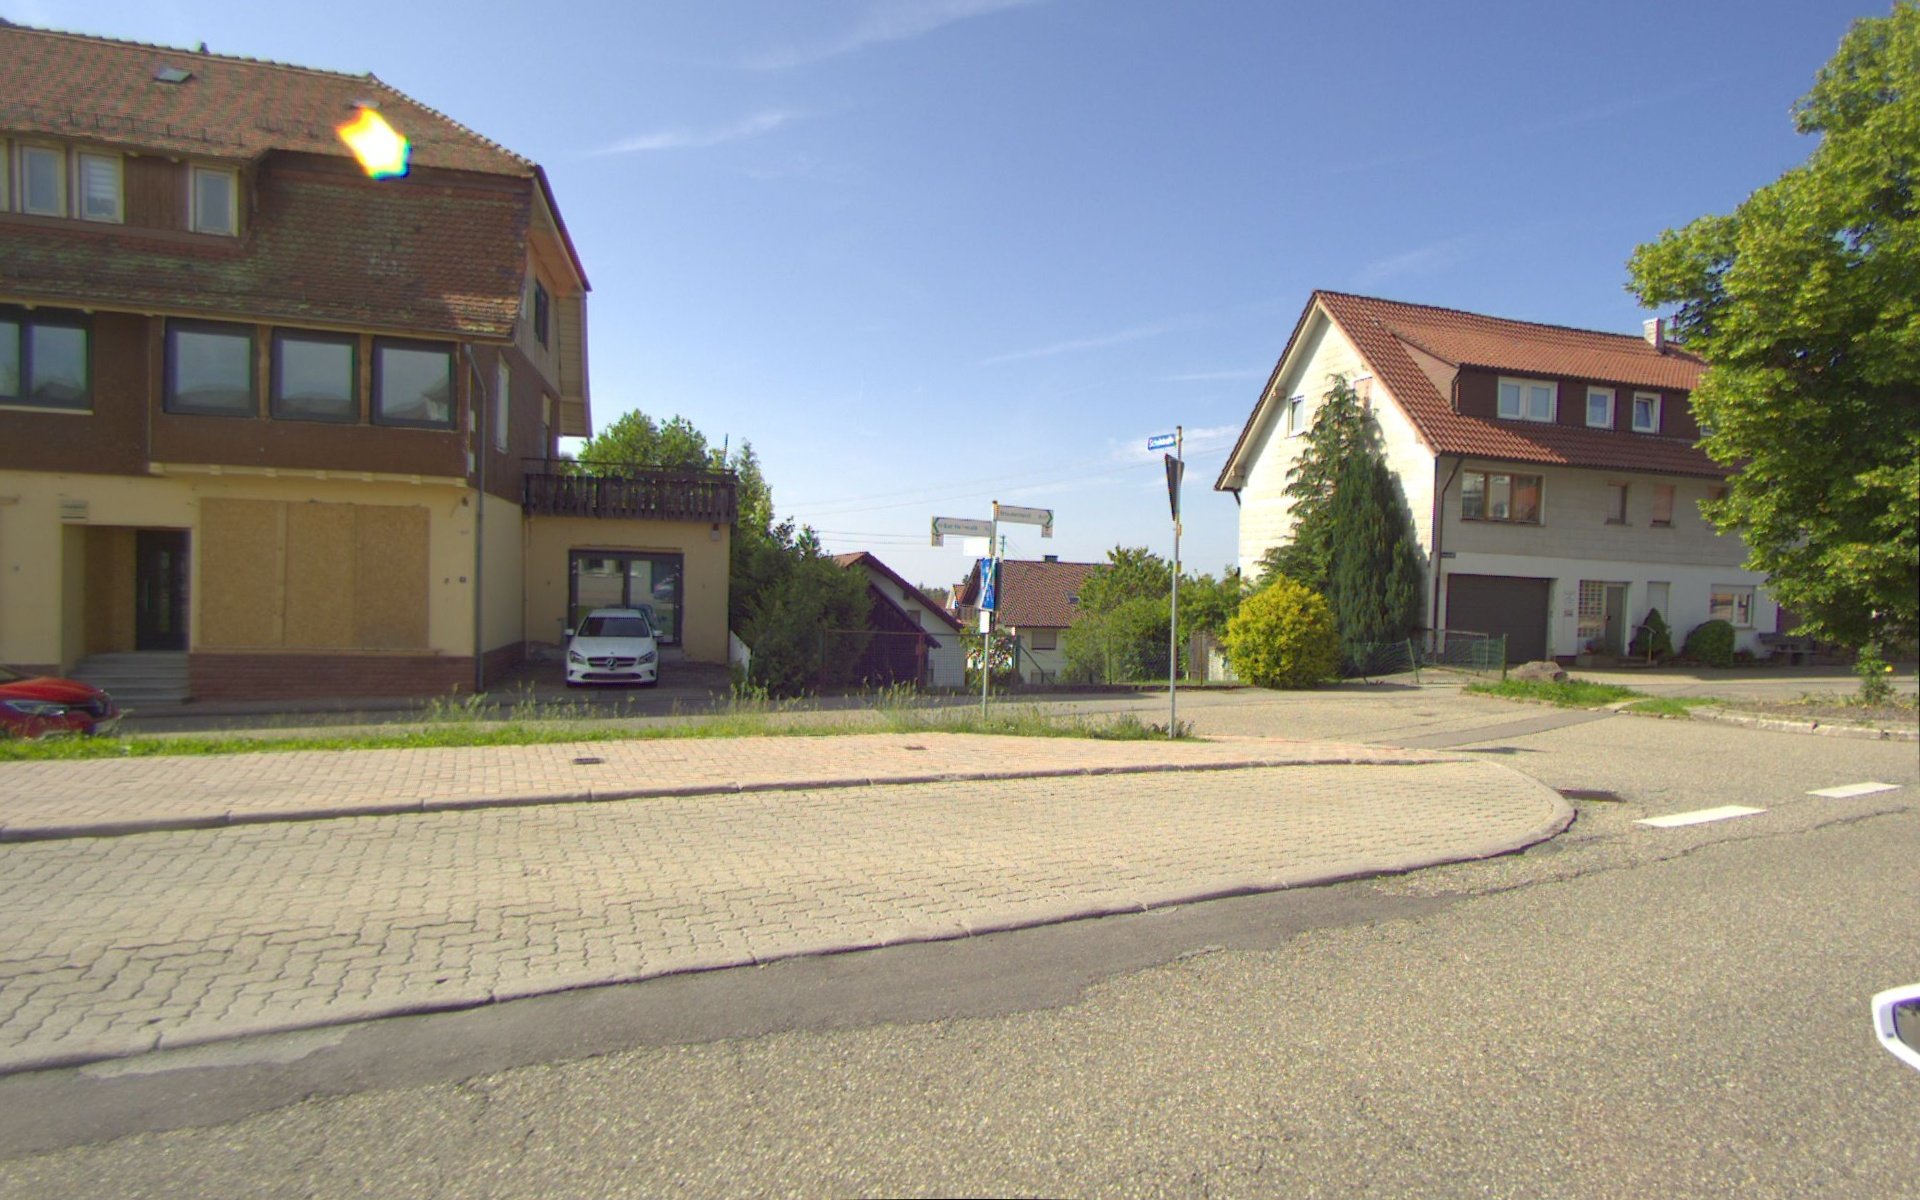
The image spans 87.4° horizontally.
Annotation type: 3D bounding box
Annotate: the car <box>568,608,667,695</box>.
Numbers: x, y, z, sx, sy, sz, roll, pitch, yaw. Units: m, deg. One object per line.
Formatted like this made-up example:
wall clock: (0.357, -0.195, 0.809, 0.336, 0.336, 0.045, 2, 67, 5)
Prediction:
car: (-7.392, 1.041, 21.734, 1.772, 1.531, 4.297, 3, 0, -19)

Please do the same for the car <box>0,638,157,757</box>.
car: (-12.234, 1.112, 11.829, 3.933, 1.314, 1.721, 1, -2, -15)
